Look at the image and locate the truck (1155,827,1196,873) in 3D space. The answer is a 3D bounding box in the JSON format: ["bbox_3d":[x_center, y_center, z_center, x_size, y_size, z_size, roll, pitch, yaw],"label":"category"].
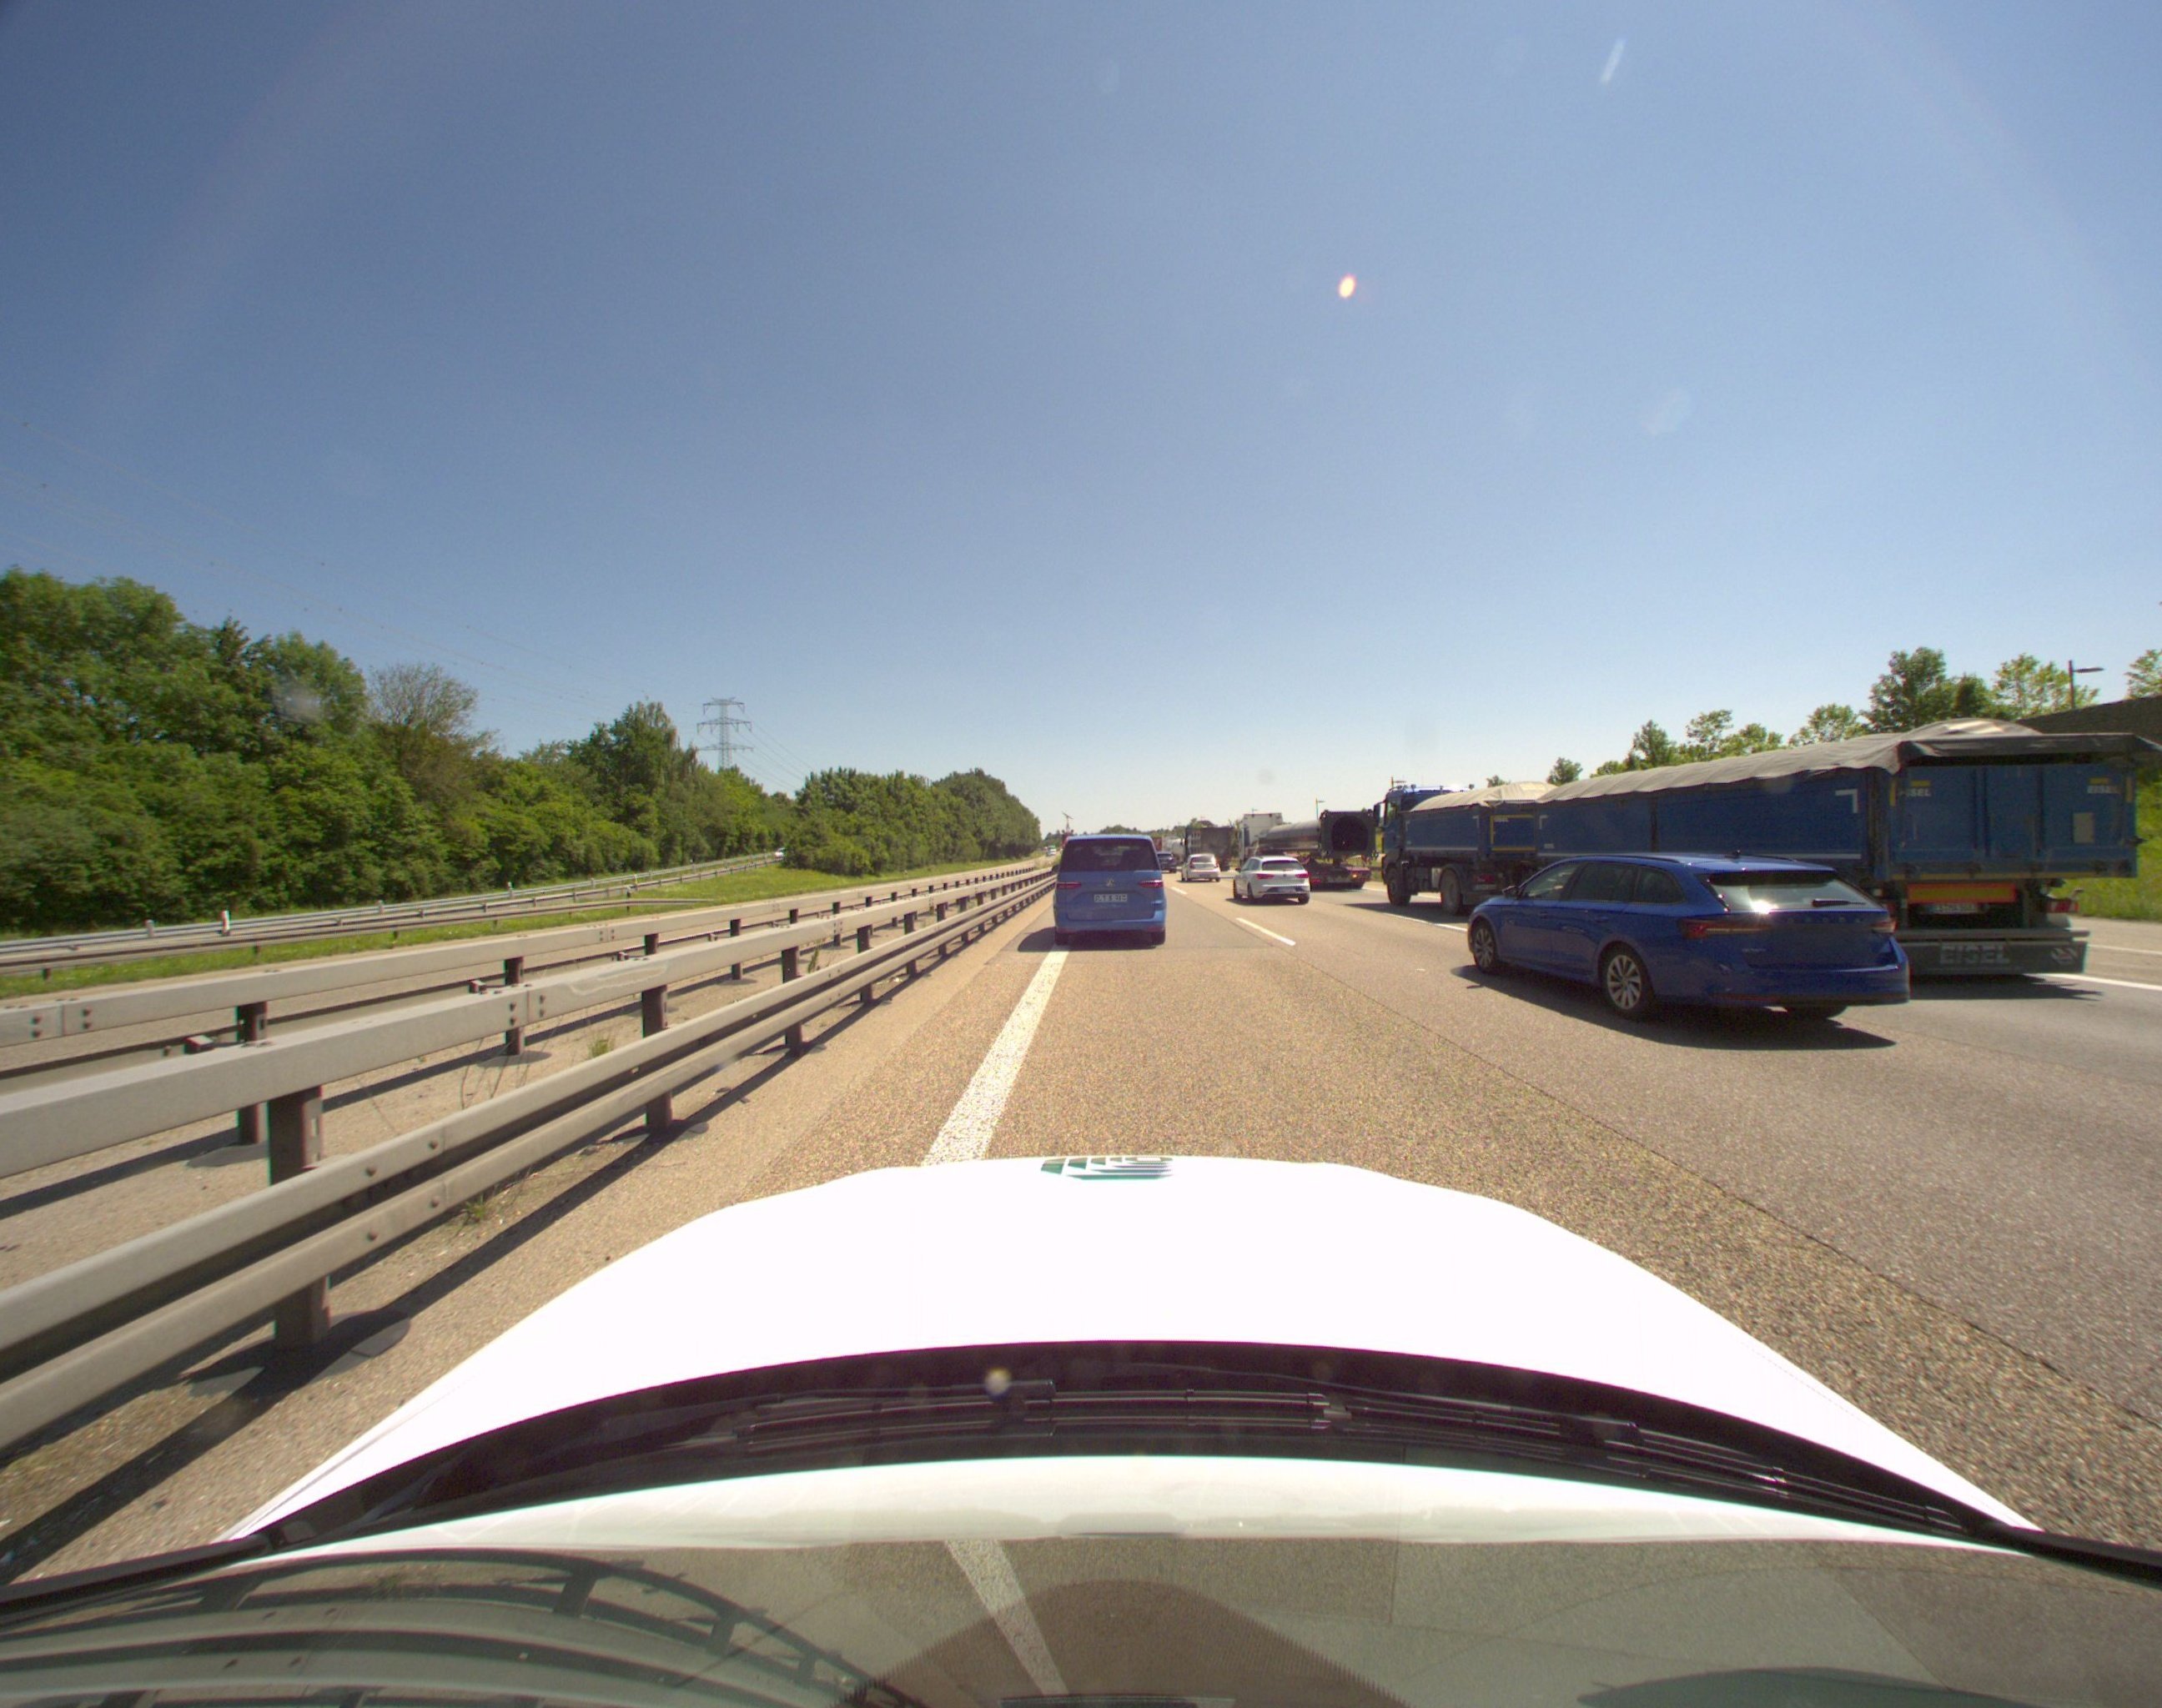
[{"bbox_3d":[11.465,-0.338,100.453,3.608,5.213,15.692,0,-1,1],"label":"truck"}]

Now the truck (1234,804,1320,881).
[{"bbox_3d":[11.266,-0.556,47.669,3.611,4.095,7.530,0,-1,3],"label":"truck"}]

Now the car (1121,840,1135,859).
[{"bbox_3d":[13.206,-1.203,228.014,3.209,5.257,8.138,0,-1,-2],"label":"car"}]

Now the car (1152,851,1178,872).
[{"bbox_3d":[6.537,0.594,63.862,1.774,1.524,4.001,0,-1,2],"label":"car"}]

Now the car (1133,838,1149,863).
[{"bbox_3d":[12.962,-0.697,176.748,3.206,5.257,8.147,0,-1,2],"label":"car"}]

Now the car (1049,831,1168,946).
[{"bbox_3d":[0.546,0.579,15.068,1.893,1.838,4.003,0,-1,3],"label":"car"}]

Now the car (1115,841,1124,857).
[{"bbox_3d":[12.220,-1.598,258.504,2.706,4.713,11.563,0,-1,2],"label":"car"}]

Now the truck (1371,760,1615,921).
[{"bbox_3d":[9.772,-0.322,20.389,2.733,3.311,7.136,0,1,2],"label":"truck"}]

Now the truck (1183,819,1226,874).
[{"bbox_3d":[11.867,-0.659,78.823,3.643,5.180,5.714,0,-1,4],"label":"truck"}]

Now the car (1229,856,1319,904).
[{"bbox_3d":[5.851,0.736,25.175,1.861,1.361,4.000,0,0,0],"label":"car"}]

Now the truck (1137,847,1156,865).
[{"bbox_3d":[6.768,0.250,84.497,1.719,1.857,4.001,0,-1,2],"label":"truck"}]

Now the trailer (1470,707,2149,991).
[{"bbox_3d":[9.495,-0.081,12.742,2.733,2.836,9.120,0,0,2],"label":"trailer"}]

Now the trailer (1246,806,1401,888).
[{"bbox_3d":[10.678,-0.145,38.462,3.630,3.079,15.787,0,-1,4],"label":"trailer"}]

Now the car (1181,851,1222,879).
[{"bbox_3d":[6.519,0.596,44.354,1.833,1.454,4.003,0,-1,3],"label":"car"}]

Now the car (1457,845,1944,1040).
[{"bbox_3d":[5.616,0.690,8.262,1.699,1.441,4.430,0,-1,2],"label":"car"}]

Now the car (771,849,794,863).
[{"bbox_3d":[-37.921,0.285,103.619,1.632,1.674,4.889,0,-1,-7],"label":"car"}]

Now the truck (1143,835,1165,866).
[{"bbox_3d":[12.295,-0.522,137.387,3.057,4.920,10.693,0,-1,2],"label":"truck"}]

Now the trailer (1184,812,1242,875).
[{"bbox_3d":[11.522,-0.758,72.480,3.631,5.136,13.084,0,-1,3],"label":"trailer"}]
